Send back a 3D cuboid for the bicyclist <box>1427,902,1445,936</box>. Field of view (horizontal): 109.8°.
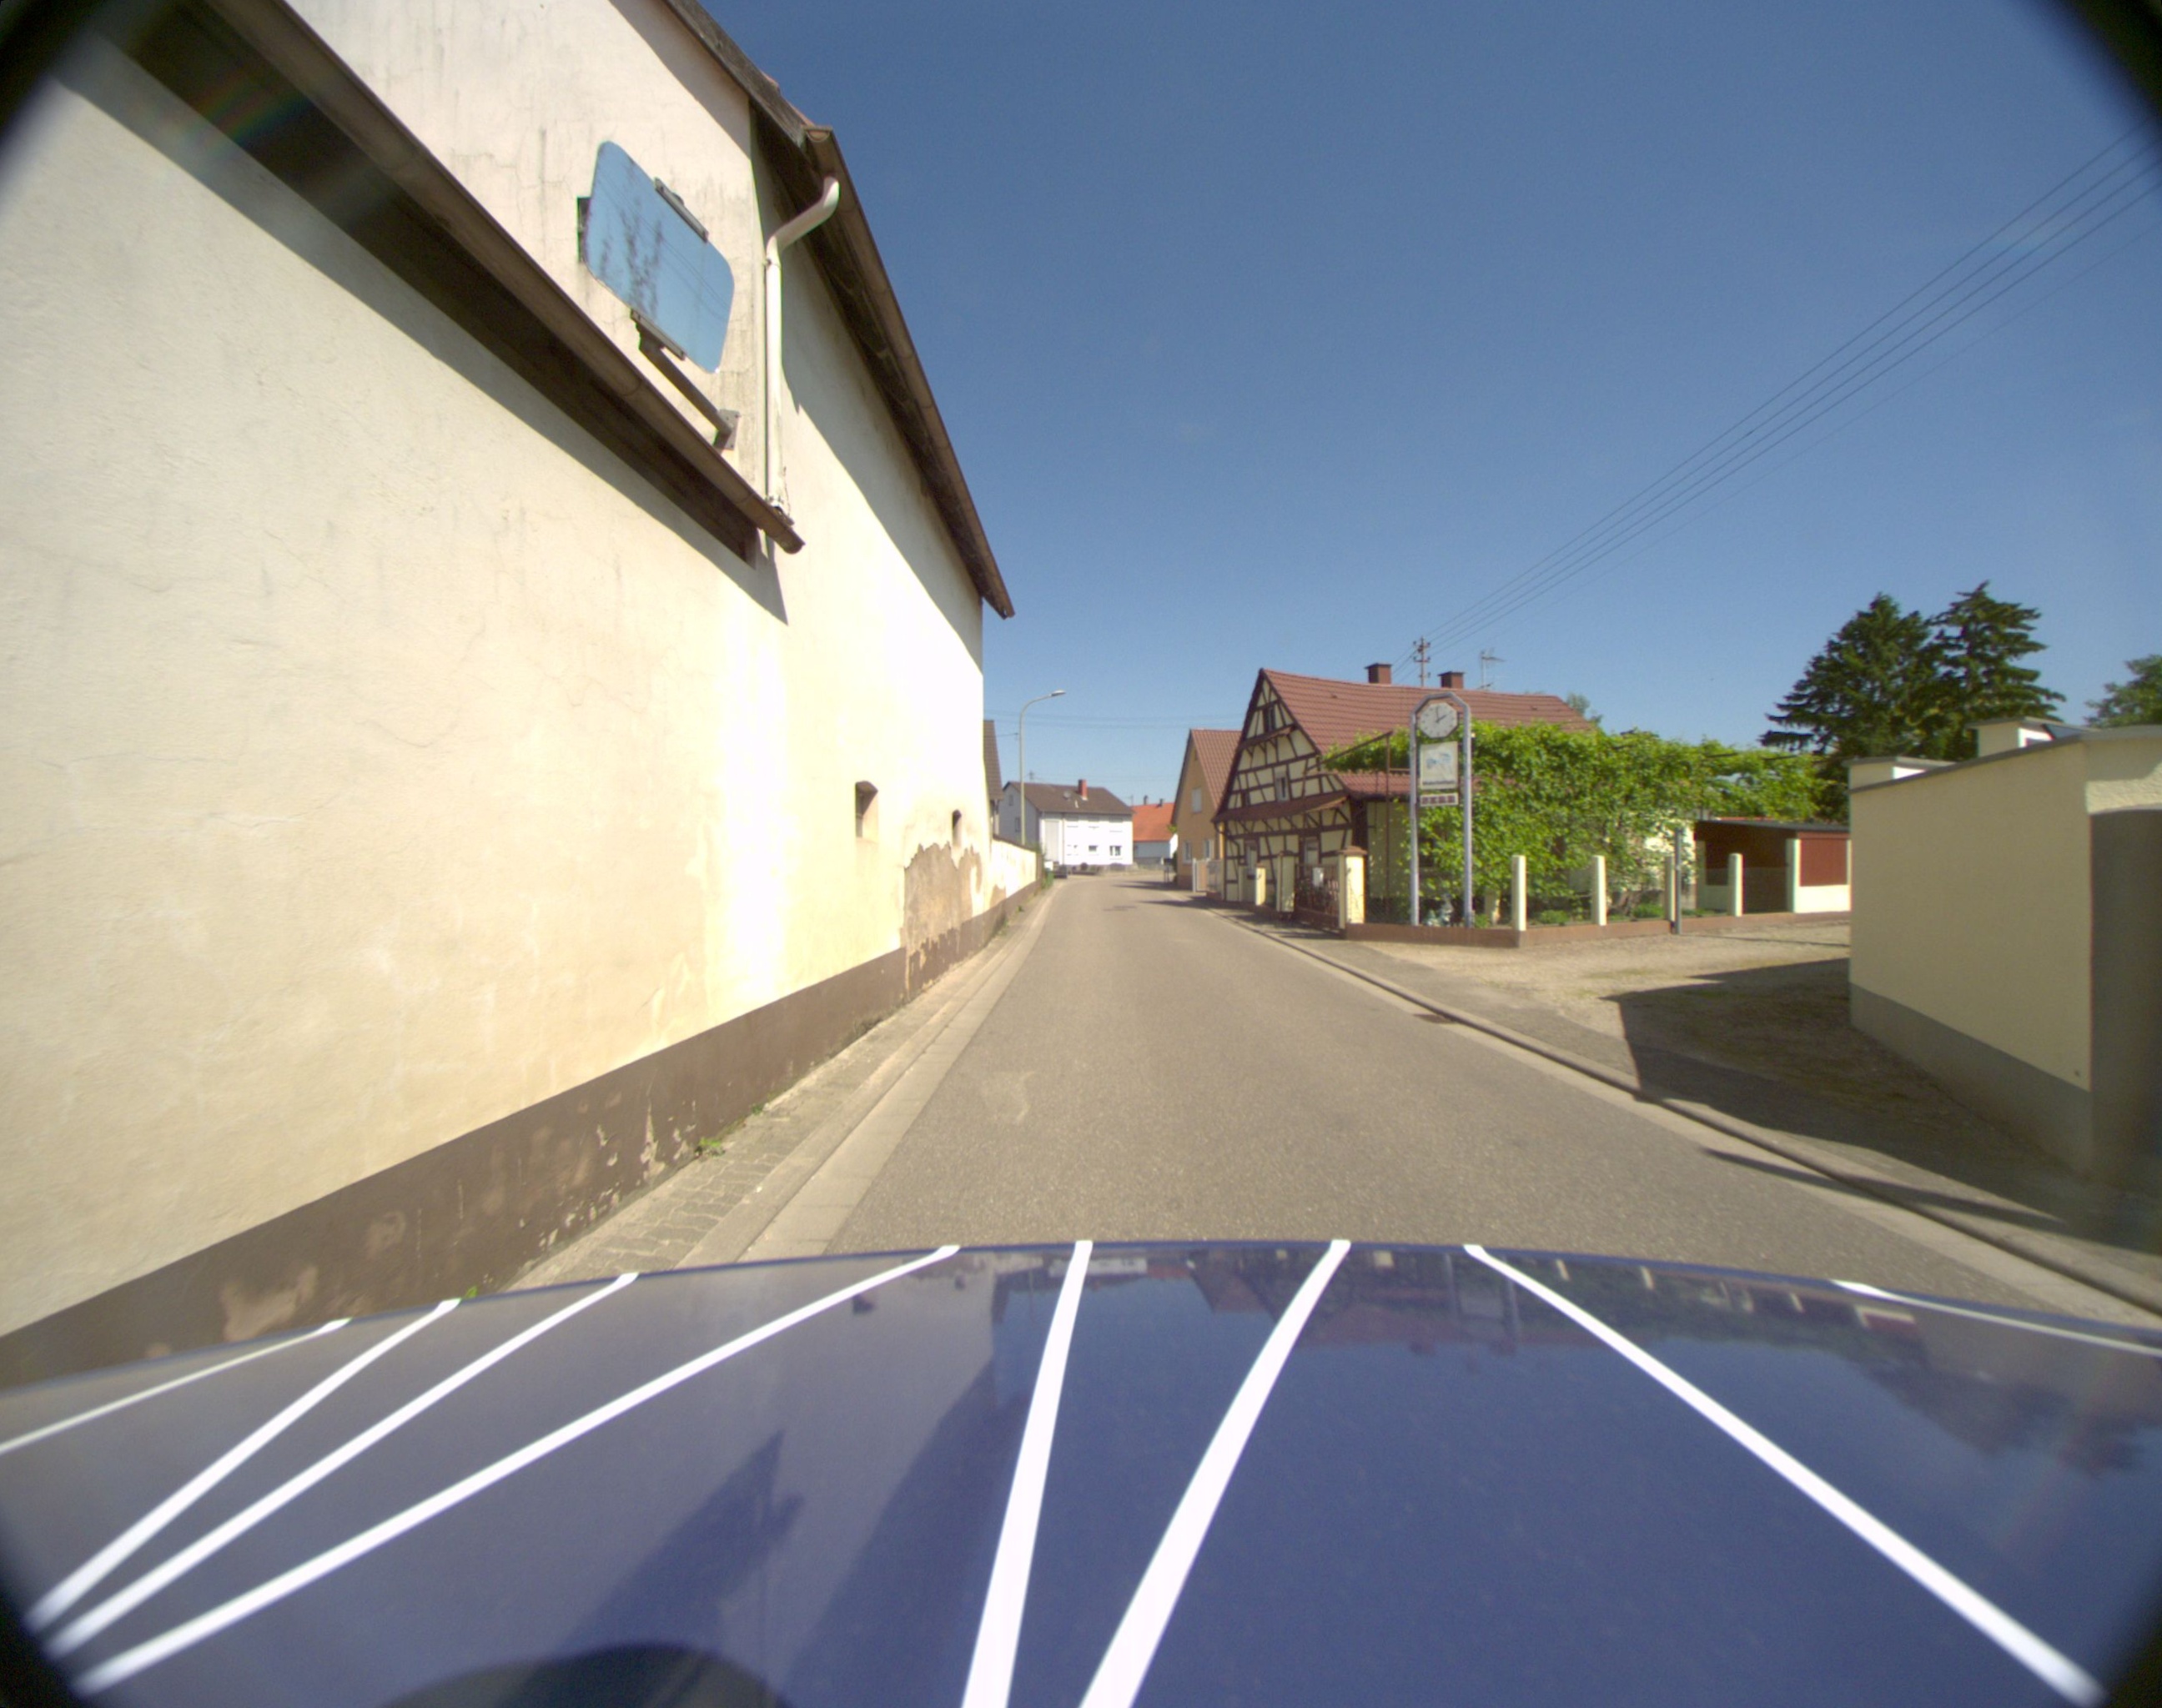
[{"bbox_3d":[6.230,1.131,13.327,0.246,0.579,0.218,-1,1,16],"label":"bicyclist"}]

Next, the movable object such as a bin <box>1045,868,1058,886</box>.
[{"bbox_3d":[-1.636,1.289,42.054,0.552,0.971,0.432,0,0,-25],"label":"movable object such as a bin"}]

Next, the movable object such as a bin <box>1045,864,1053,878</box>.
[{"bbox_3d":[-2.243,1.216,53.680,0.505,0.971,0.495,-1,1,0],"label":"movable object such as a bin"}]

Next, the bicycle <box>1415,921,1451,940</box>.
[{"bbox_3d":[6.182,1.340,13.342,0.534,0.303,0.220,-2,0,16],"label":"bicycle"}]
